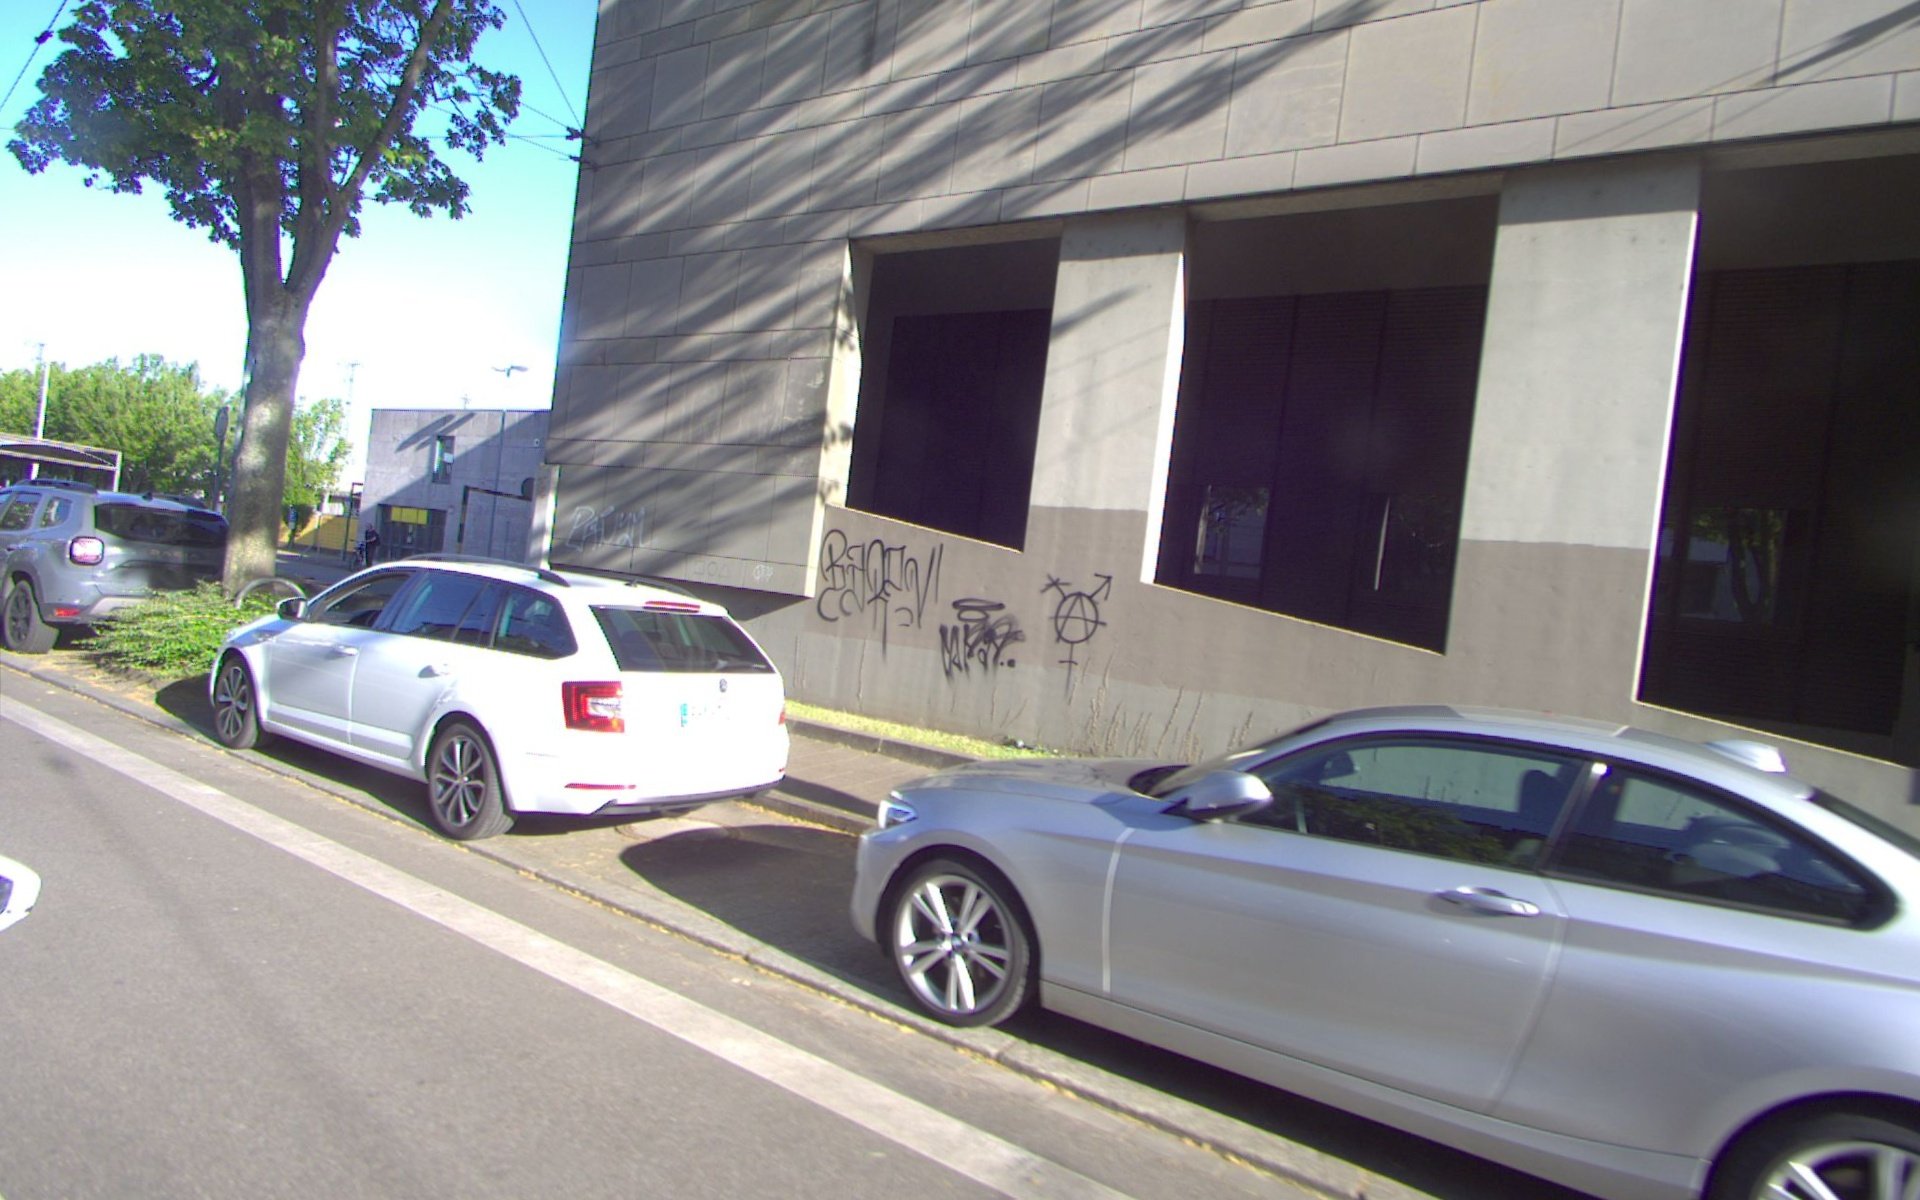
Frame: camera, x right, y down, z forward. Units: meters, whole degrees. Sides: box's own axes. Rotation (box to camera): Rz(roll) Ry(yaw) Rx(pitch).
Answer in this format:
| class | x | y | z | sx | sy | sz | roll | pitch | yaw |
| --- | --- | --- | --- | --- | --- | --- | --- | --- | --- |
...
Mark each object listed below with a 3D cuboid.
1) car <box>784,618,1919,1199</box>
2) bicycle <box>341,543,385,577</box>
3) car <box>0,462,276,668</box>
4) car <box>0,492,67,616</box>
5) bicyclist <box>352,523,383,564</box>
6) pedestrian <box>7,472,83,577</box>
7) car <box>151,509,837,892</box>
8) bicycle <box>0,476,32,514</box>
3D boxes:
| class | x | y | z | sx | sy | sz | roll | pitch | yaw |
| --- | --- | --- | --- | --- | --- | --- | --- | --- | --- |
| car | 1.604 | 1.064 | 3.729 | 4.256 | 1.424 | 1.712 | 6 | -2 | 31 |
| bicycle | -22.370 | -1.501 | 37.742 | 0.742 | 1.083 | 2.005 | 7 | -2 | -14 |
| car | -9.463 | -0.441 | 10.711 | 4.204 | 1.731 | 1.746 | 6 | -2 | 29 |
| car | -13.949 | -0.814 | 13.410 | 4.581 | 1.499 | 1.705 | 6 | -1 | 31 |
| bicyclist | -22.301 | -2.122 | 37.852 | 0.719 | 1.400 | 0.580 | 7 | -1 | -15 |
| pedestrian | -16.770 | -1.387 | 18.435 | 1.282 | 1.814 | 0.671 | 6 | 4 | 31 |
| car | -3.209 | 0.445 | 6.592 | 4.546 | 1.507 | 1.716 | 7 | -1 | 31 |
| bicycle | -29.724 | -3.315 | 30.748 | 0.569 | 1.019 | 1.894 | 6 | -2 | 43 |
